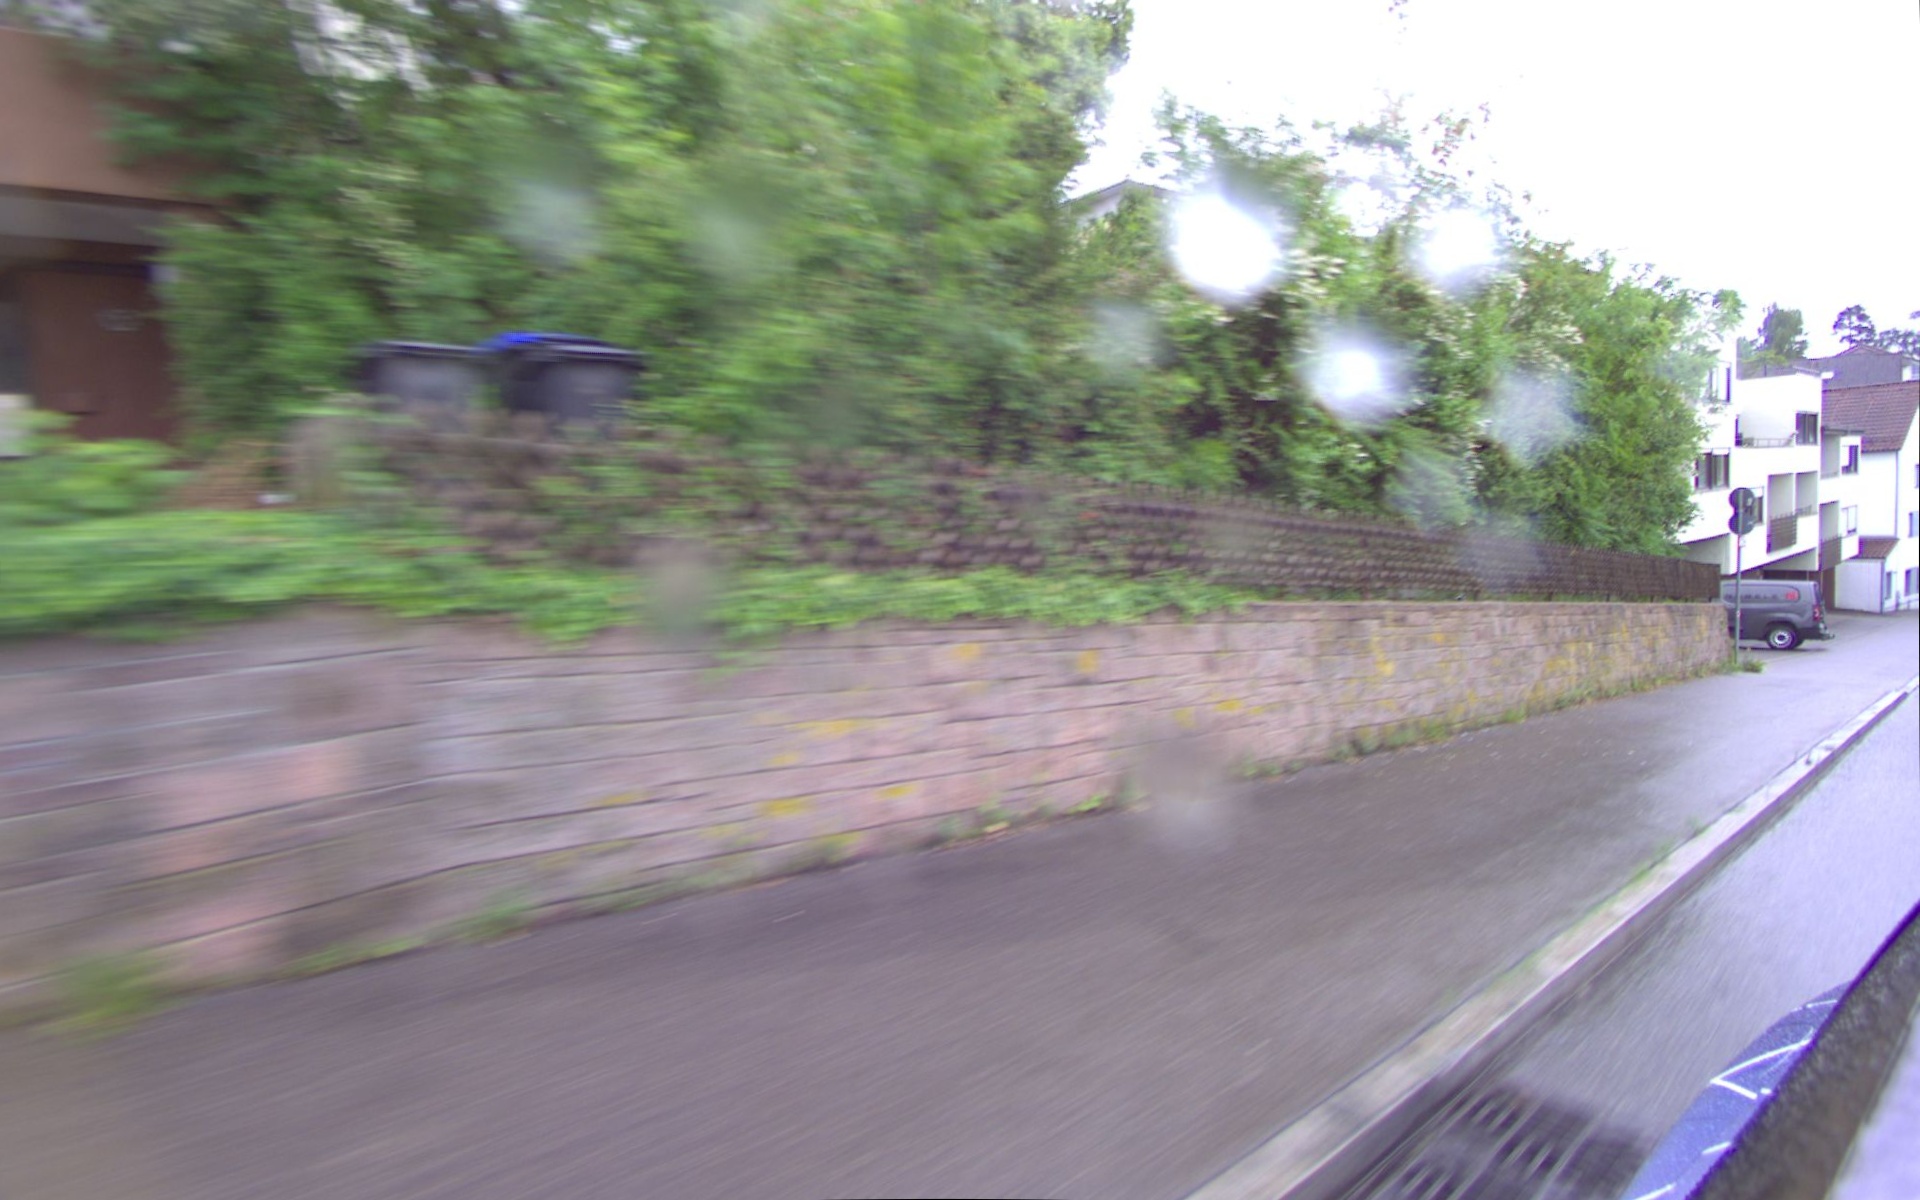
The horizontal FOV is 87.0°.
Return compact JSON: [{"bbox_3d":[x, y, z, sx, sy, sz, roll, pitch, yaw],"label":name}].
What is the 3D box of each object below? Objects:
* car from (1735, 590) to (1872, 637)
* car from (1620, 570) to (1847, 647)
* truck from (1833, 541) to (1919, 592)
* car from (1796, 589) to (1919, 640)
[{"bbox_3d":[29.908,0.446,35.907,3.981,1.598,1.791,0,0,-15],"label":"car"},{"bbox_3d":[21.298,0.147,28.024,1.966,1.842,4.714,0,3,-43],"label":"car"},{"bbox_3d":[58.149,-1.937,61.682,2.097,2.733,6.999,0,8,-28],"label":"truck"},{"bbox_3d":[30.190,0.446,33.293,3.986,1.598,1.789,0,0,-4],"label":"car"}]
